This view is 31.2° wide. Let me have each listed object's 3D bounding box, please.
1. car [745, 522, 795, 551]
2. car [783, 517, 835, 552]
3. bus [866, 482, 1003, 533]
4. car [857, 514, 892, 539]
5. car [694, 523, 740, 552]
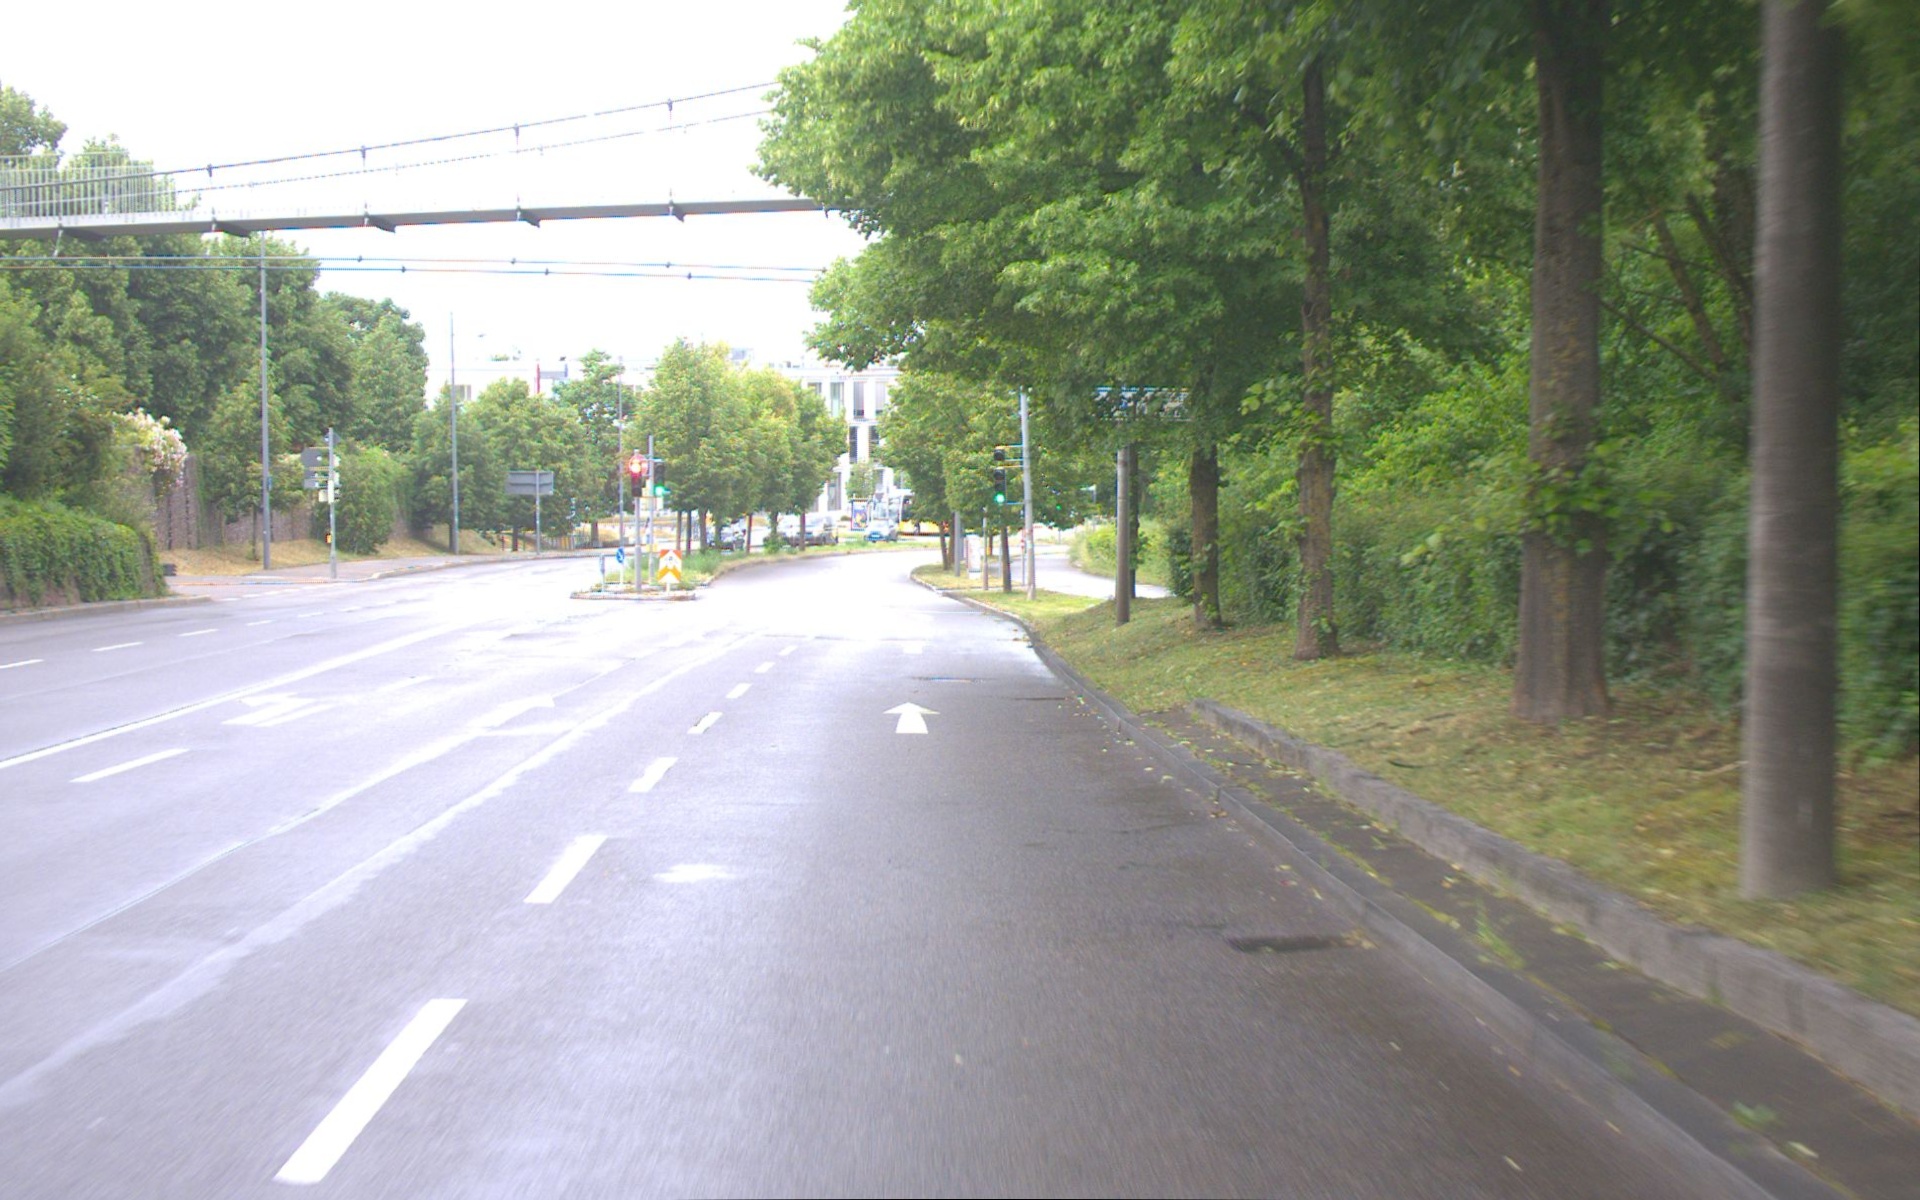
[{"bbox_3d":[-10.939,-3.632,198.324,1.882,1.589,4.765,2,1,9],"label":"car"},{"bbox_3d":[-8.457,-3.690,193.101,2.014,1.912,5.094,1,1,8],"label":"car"},{"bbox_3d":[-1.798,-6.941,260.414,2.788,3.345,18.202,1,0,25],"label":"bus"},{"bbox_3d":[-5.460,-4.735,220.186,1.687,1.534,2.915,2,2,9],"label":"car"},{"bbox_3d":[-12.940,-3.329,183.345,1.598,1.484,3.999,1,1,8],"label":"car"}]
